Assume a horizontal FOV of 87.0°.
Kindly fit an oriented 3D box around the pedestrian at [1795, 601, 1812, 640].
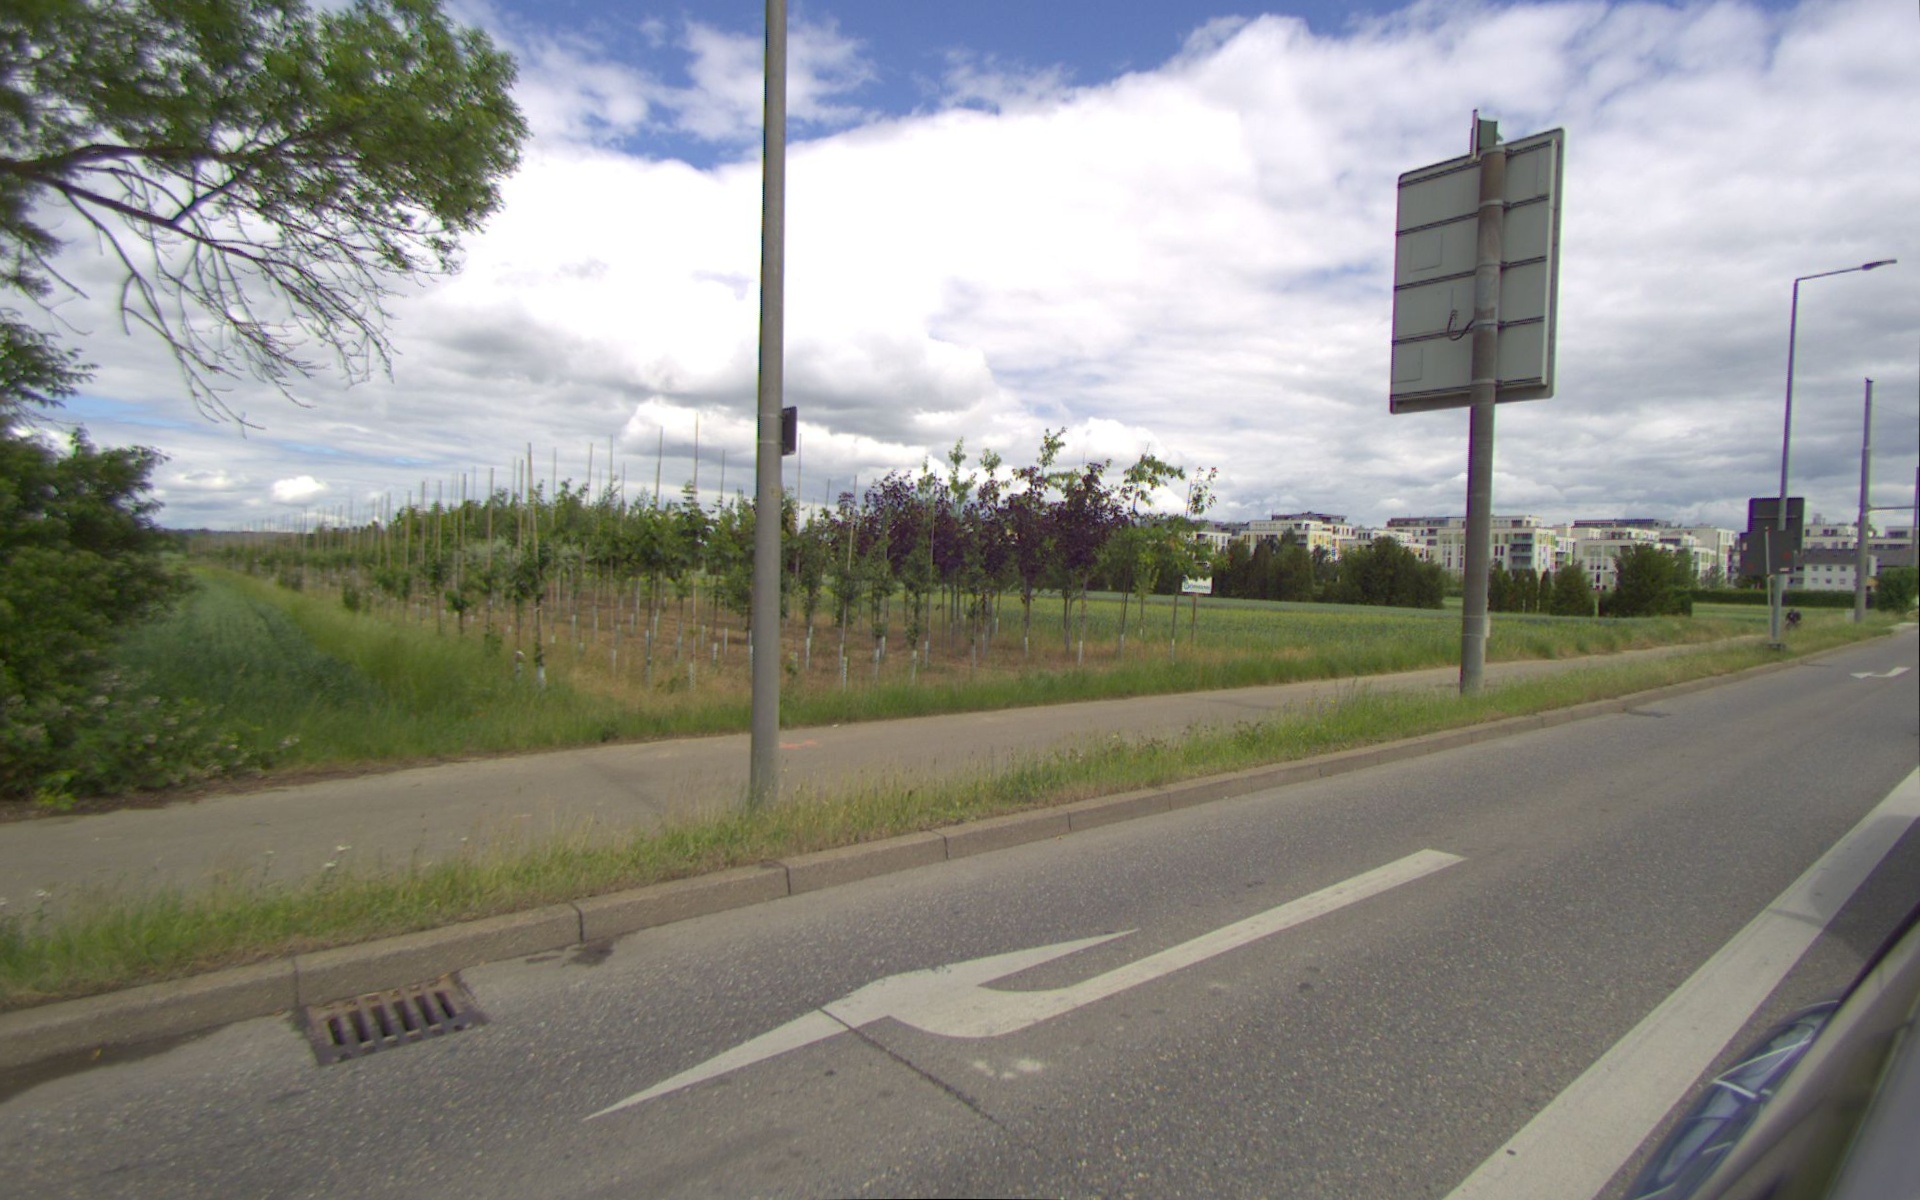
[{"bbox_3d":[38.606,0.932,46.310,0.615,1.724,0.492,0,0,-42],"label":"pedestrian"}]
